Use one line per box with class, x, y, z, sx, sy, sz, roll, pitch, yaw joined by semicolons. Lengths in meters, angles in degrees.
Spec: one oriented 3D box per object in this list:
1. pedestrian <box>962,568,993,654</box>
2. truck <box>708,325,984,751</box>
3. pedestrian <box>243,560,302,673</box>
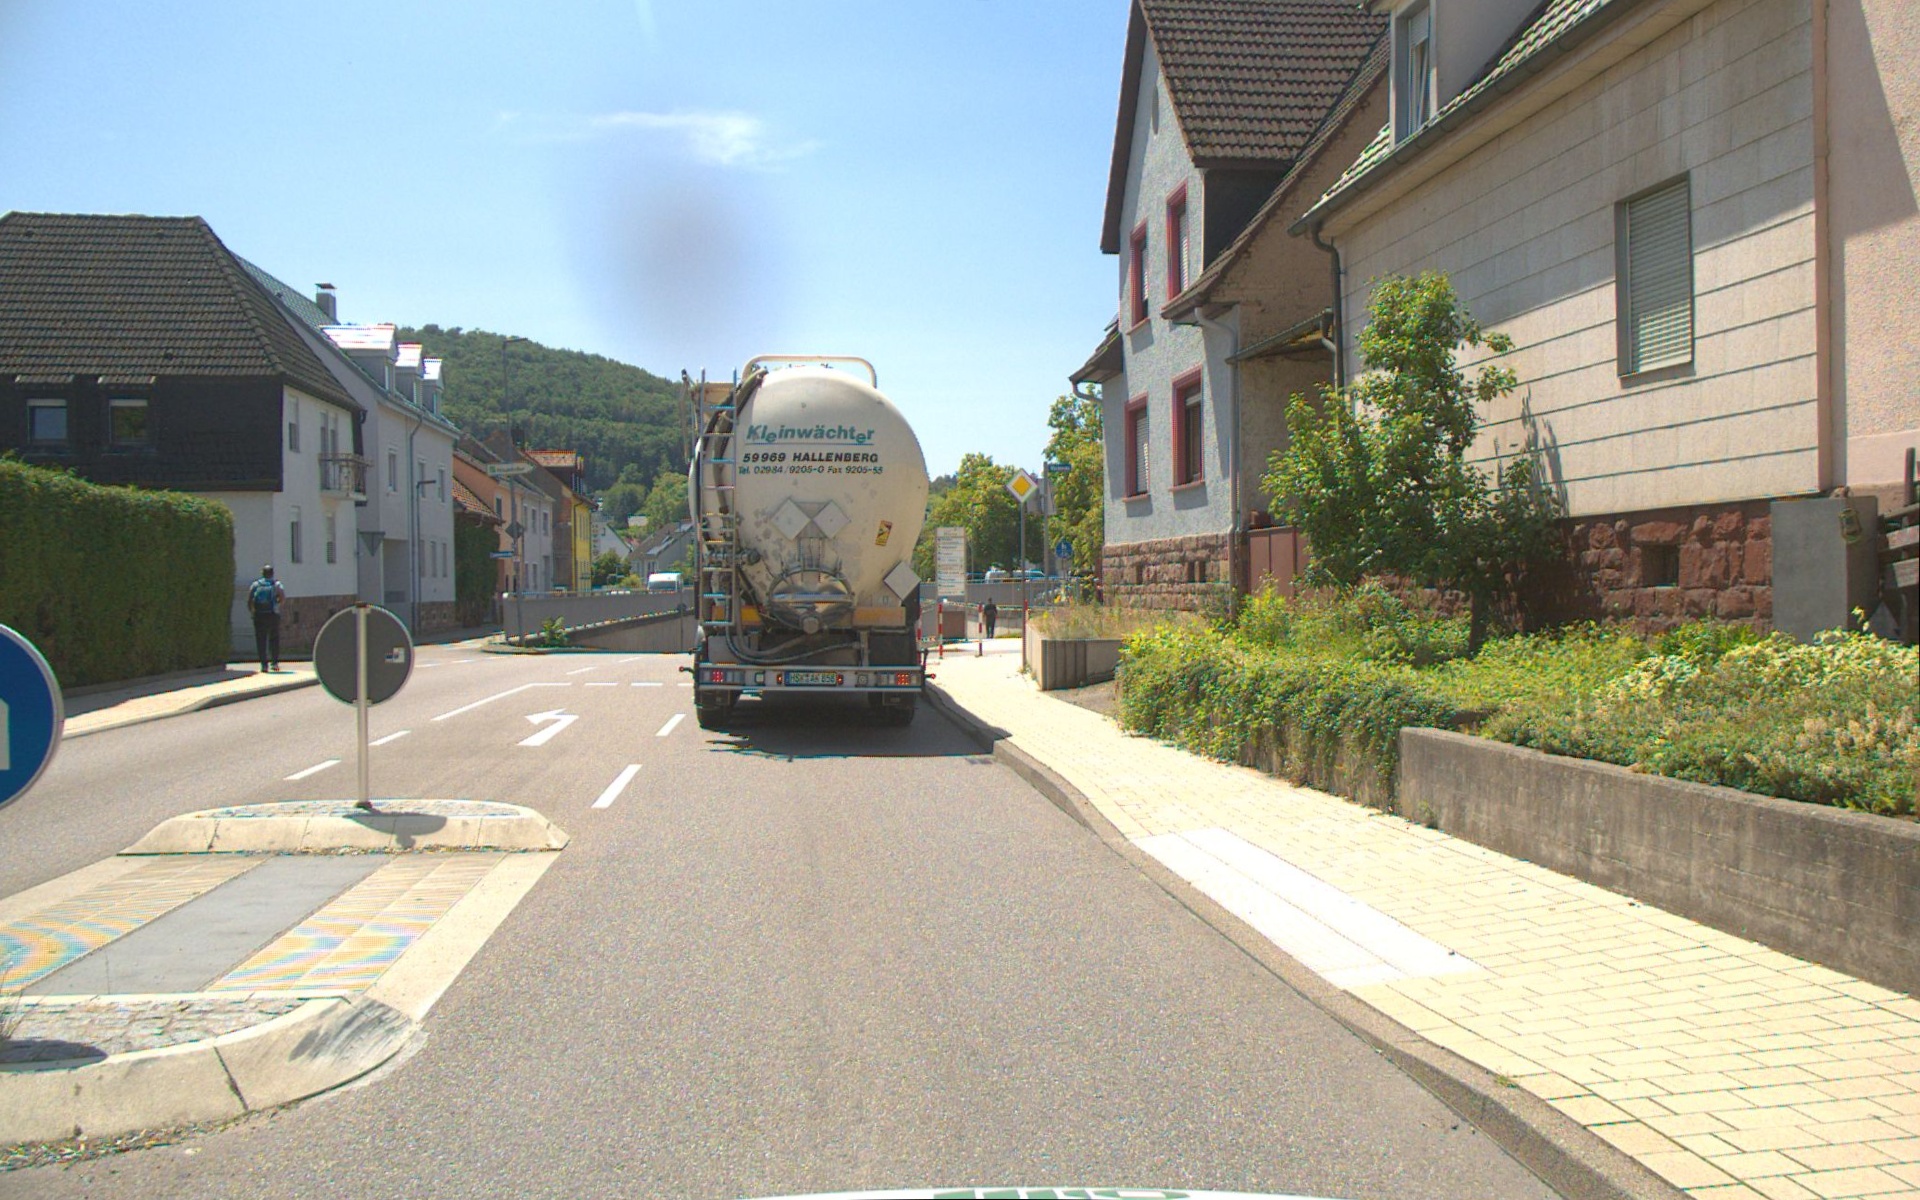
pedestrian;0.358;0.224;33.367;0.559;1.723;0.720;1;-1;-3
truck;-1.821;-0.629;21.599;2.698;4.127;10.870;0;0;-8
pedestrian;-11.538;0.282;27.776;0.699;1.855;0.896;1;-1;-11
